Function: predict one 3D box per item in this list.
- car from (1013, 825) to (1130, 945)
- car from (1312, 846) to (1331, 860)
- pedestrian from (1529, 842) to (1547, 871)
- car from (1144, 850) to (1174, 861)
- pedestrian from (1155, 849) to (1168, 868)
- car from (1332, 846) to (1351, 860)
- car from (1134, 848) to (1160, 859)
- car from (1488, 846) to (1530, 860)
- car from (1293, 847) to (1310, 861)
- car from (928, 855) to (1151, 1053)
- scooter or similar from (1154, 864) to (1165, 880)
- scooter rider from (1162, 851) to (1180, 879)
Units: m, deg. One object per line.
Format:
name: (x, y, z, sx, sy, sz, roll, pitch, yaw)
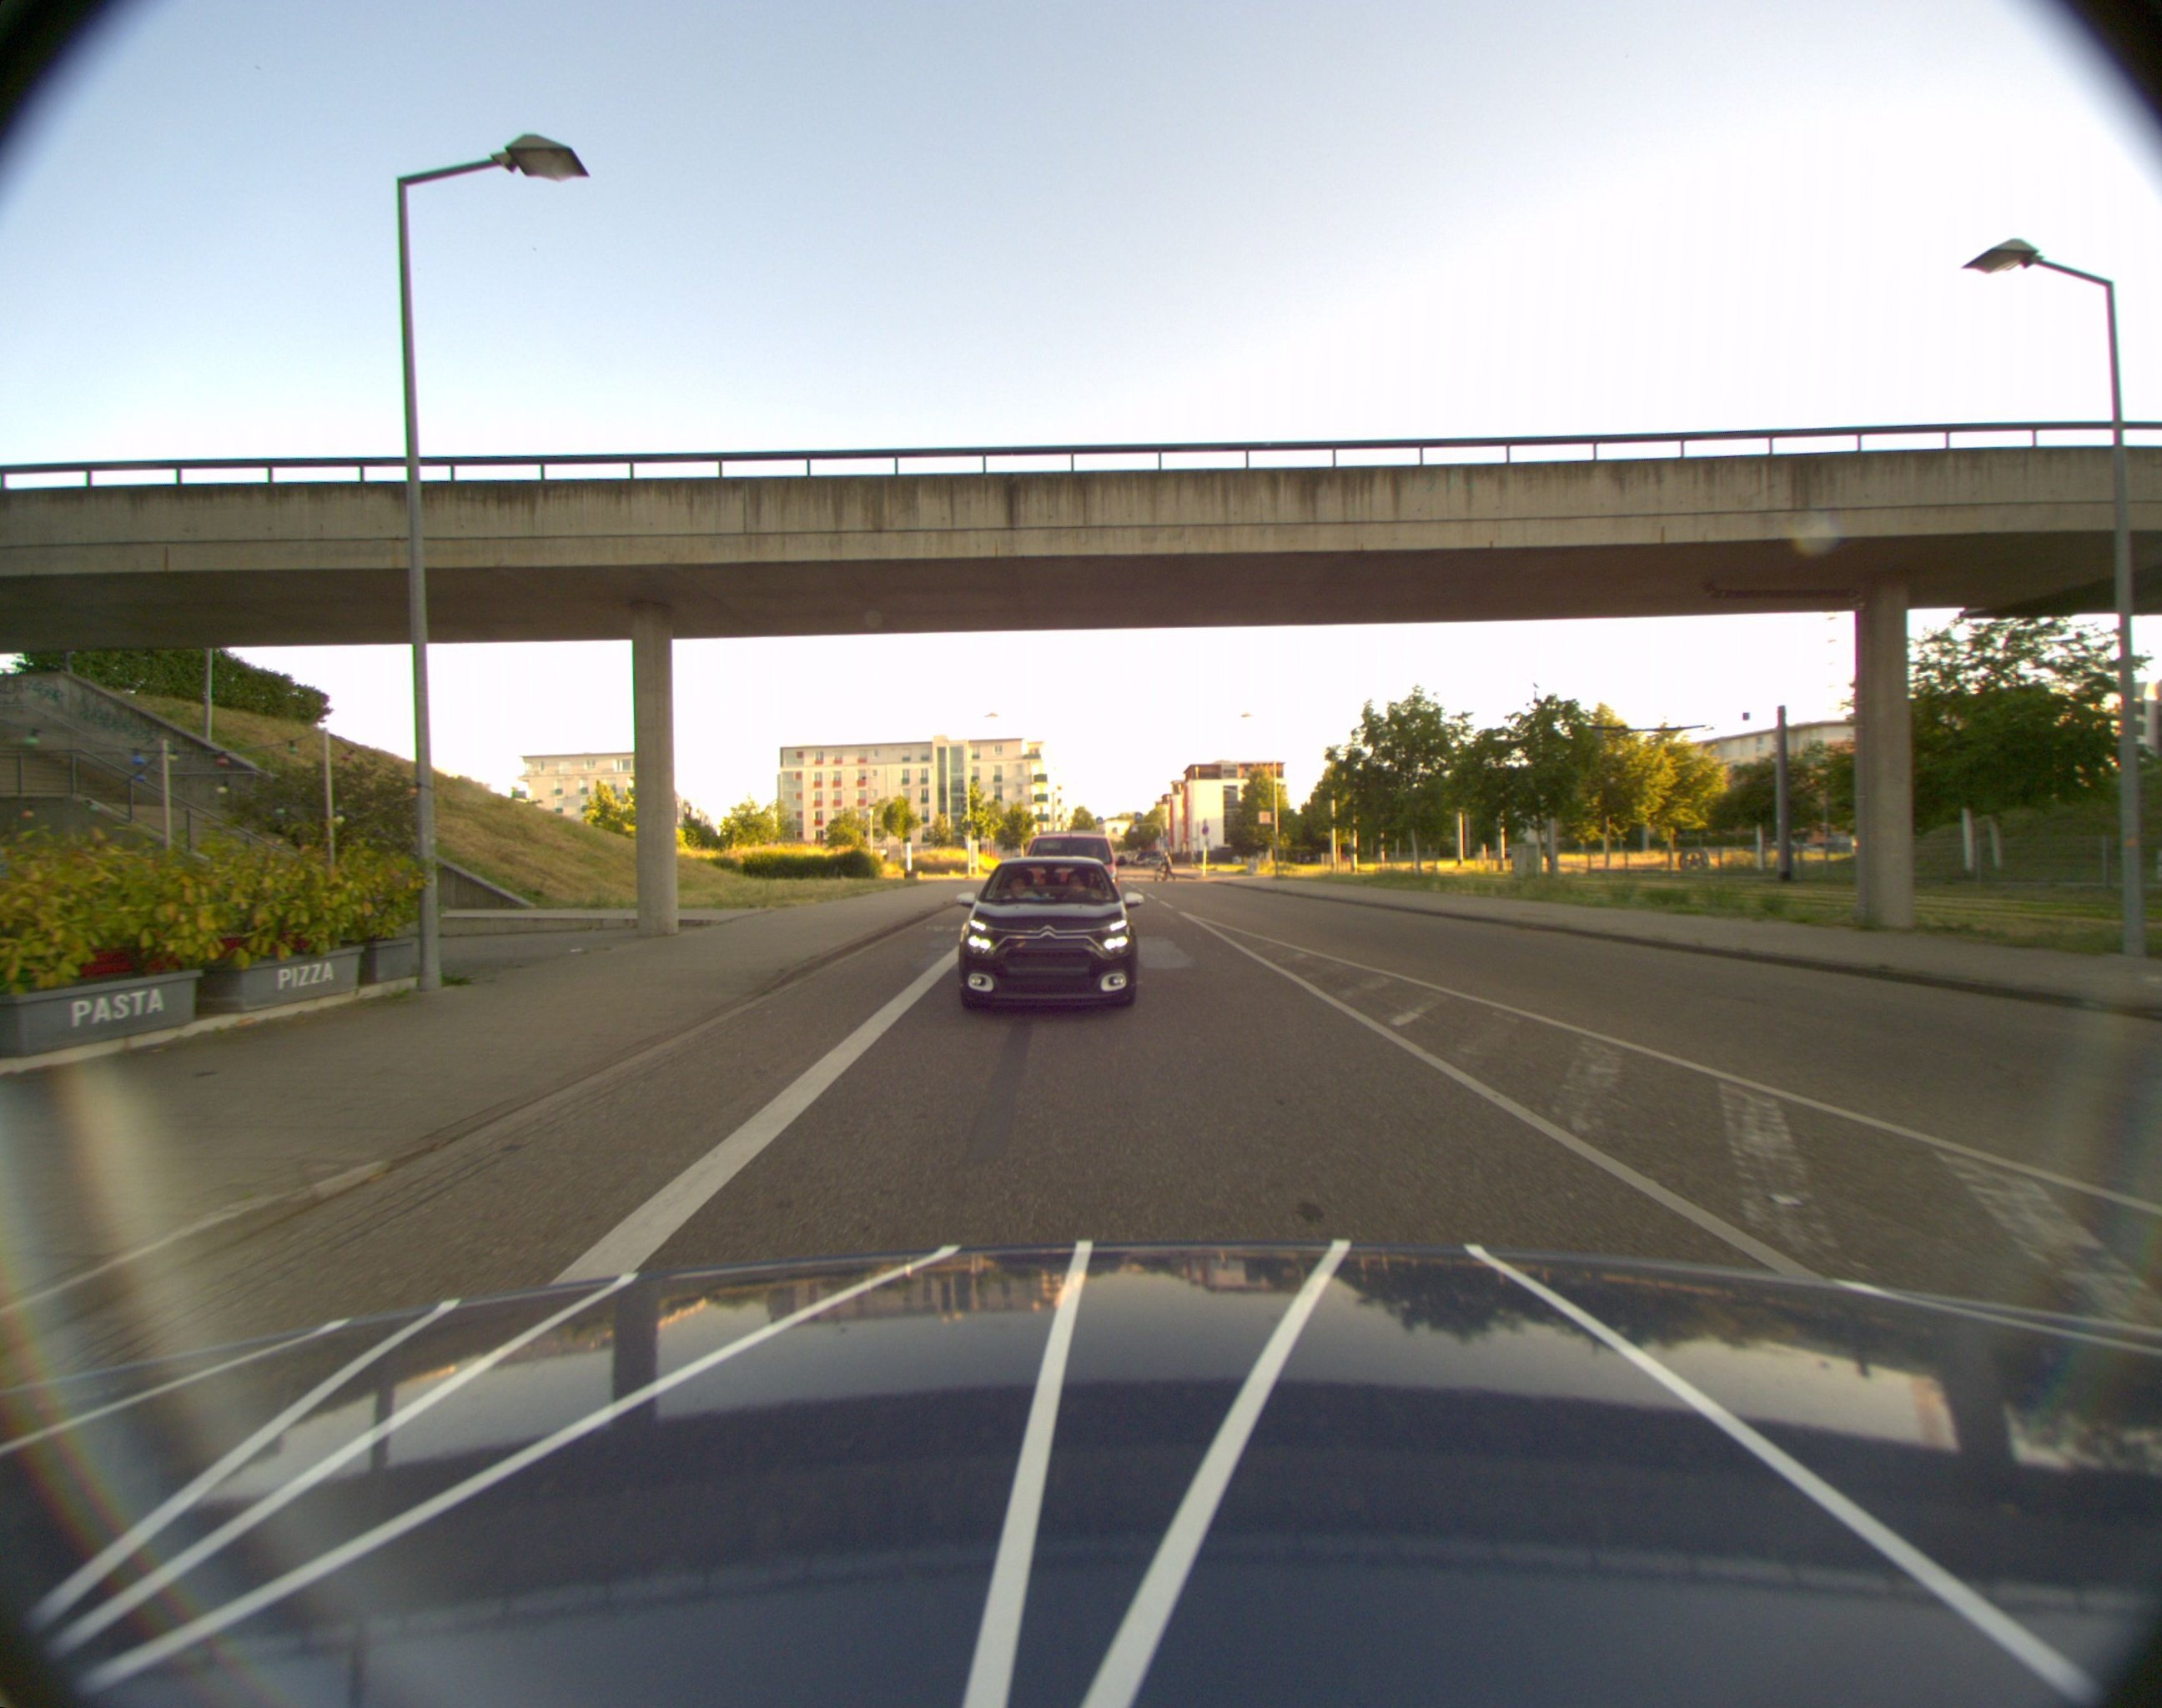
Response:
car: (-0.175, 0.531, 15.416, 1.931, 1.979, 4.821, -2, 0, 0)
car: (31.460, -0.102, 99.562, 1.869, 1.711, 3.847, -1, 0, 10)
pedestrian: (25.918, 0.136, 43.089, 0.779, 1.602, 0.417, -1, 1, 12)
car: (11.992, 0.195, 116.781, 4.387, 1.551, 1.839, -2, 1, 2)
pedestrian: (9.005, 0.494, 84.742, 1.088, 2.002, 1.141, -1, 2, 29)
car: (33.970, -0.165, 99.279, 1.869, 1.711, 3.848, -1, 0, 12)
car: (12.793, -0.168, 146.960, 4.745, 2.002, 1.999, -2, 1, -2)
car: (51.235, -0.077, 91.048, 3.994, 1.554, 2.002, -1, 0, 11)
car: (29.030, -0.037, 99.952, 1.869, 1.711, 3.848, -1, 0, 12)
car: (-0.378, 0.813, 8.175, 1.760, 1.543, 4.071, -1, 0, -1)
scooter or similar: (4.453, 1.012, 43.123, 0.552, 0.890, 0.723, 0, 2, 14)
scooter rider: (5.103, 0.626, 42.939, 0.897, 1.568, 0.712, -1, 1, 15)
